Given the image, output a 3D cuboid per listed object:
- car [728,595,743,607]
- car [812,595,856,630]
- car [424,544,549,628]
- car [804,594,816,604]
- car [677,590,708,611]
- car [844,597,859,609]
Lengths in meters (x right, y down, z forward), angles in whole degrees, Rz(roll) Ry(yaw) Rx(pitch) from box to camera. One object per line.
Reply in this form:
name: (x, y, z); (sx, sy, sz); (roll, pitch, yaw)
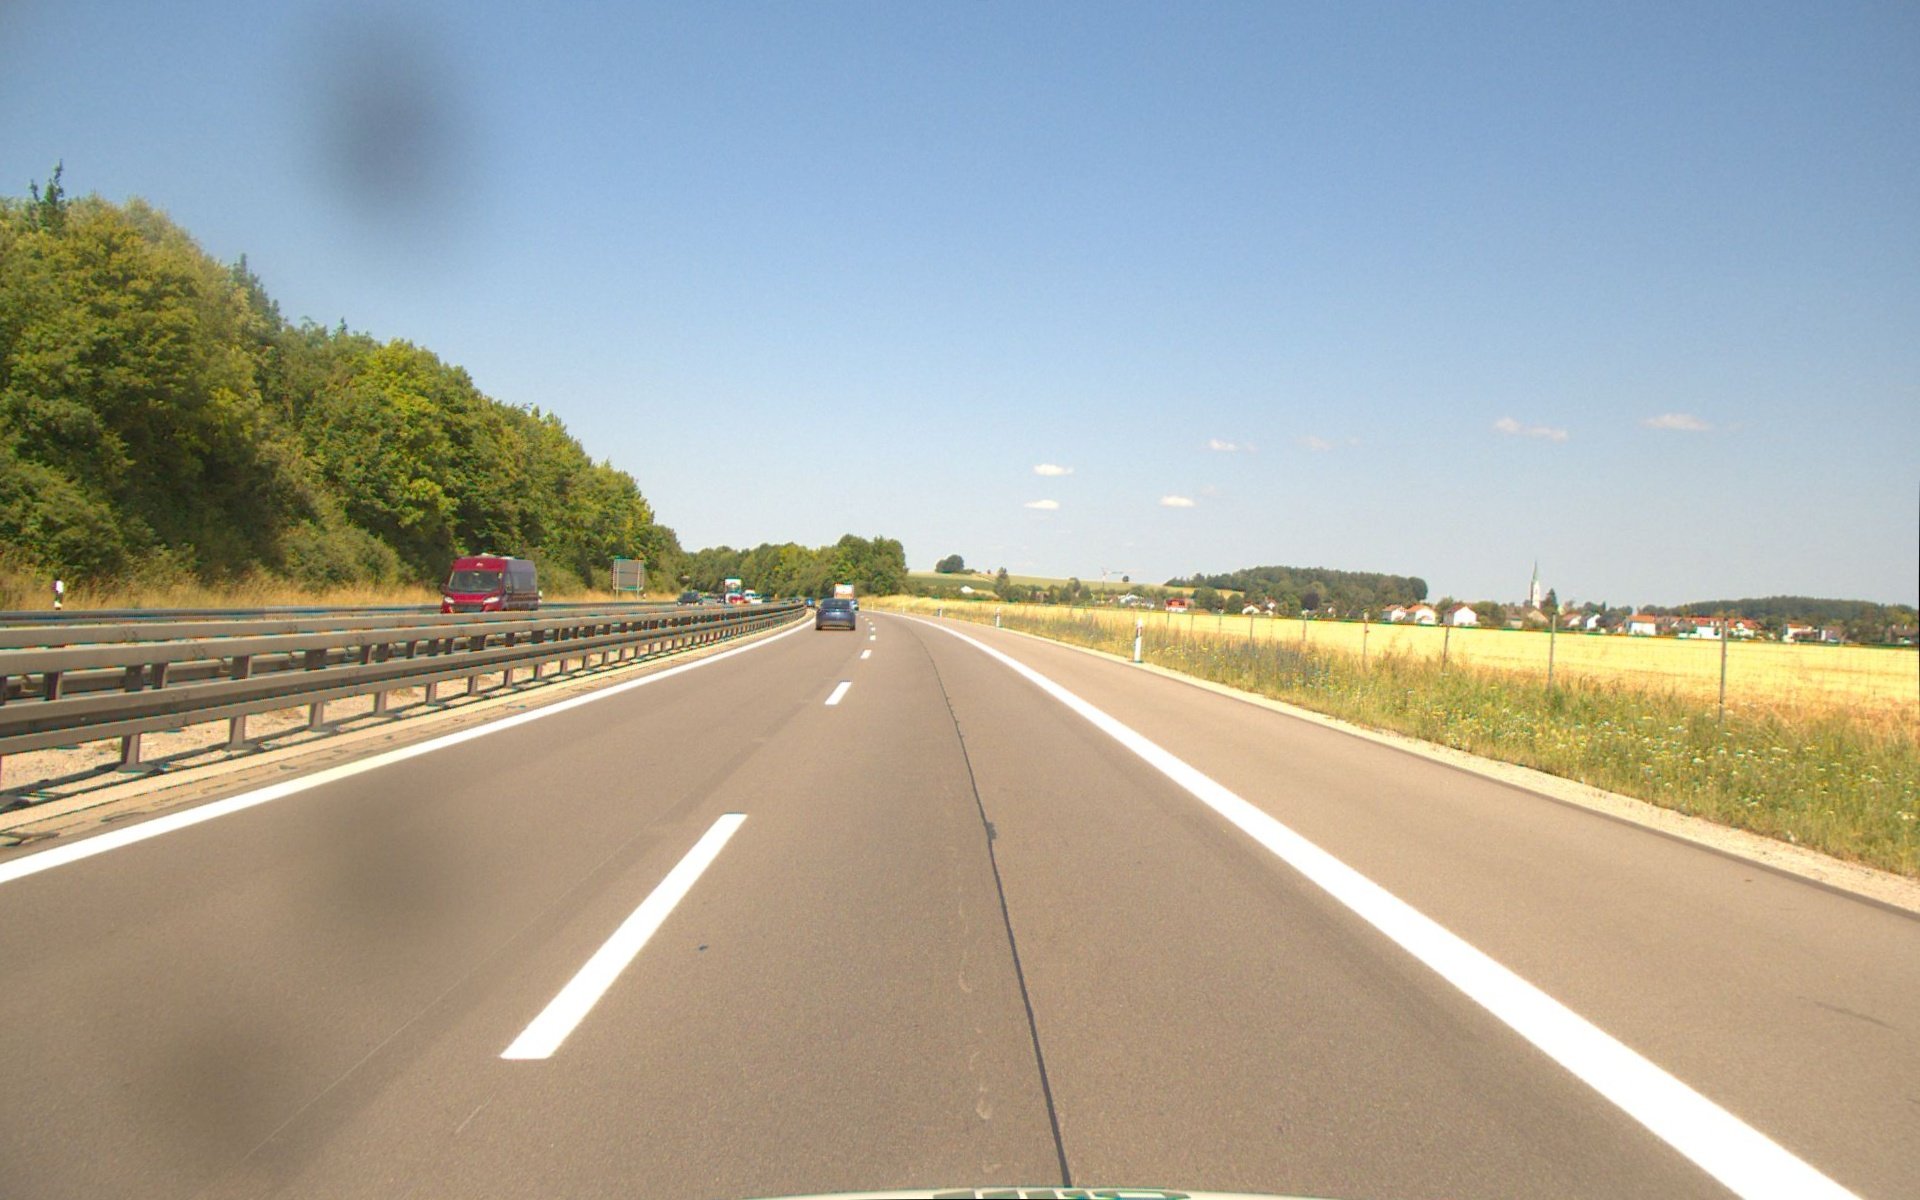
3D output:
car: (-30.158, 0.117, 222.212); (1.640, 1.462, 4.138); (2, 0, -4)
car: (-5.828, 0.559, 77.047); (1.810, 1.457, 5.863); (1, 1, -2)
car: (-16.173, -0.476, 56.933); (2.493, 2.640, 6.590); (2, 0, -2)
car: (-22.322, -0.126, 245.765); (1.643, 1.478, 3.588); (2, 0, -5)
car: (-20.724, 0.027, 128.170); (1.775, 1.582, 4.846); (2, 0, -3)
car: (-13.337, 0.383, 203.009); (1.644, 1.478, 3.587); (2, 0, -7)
